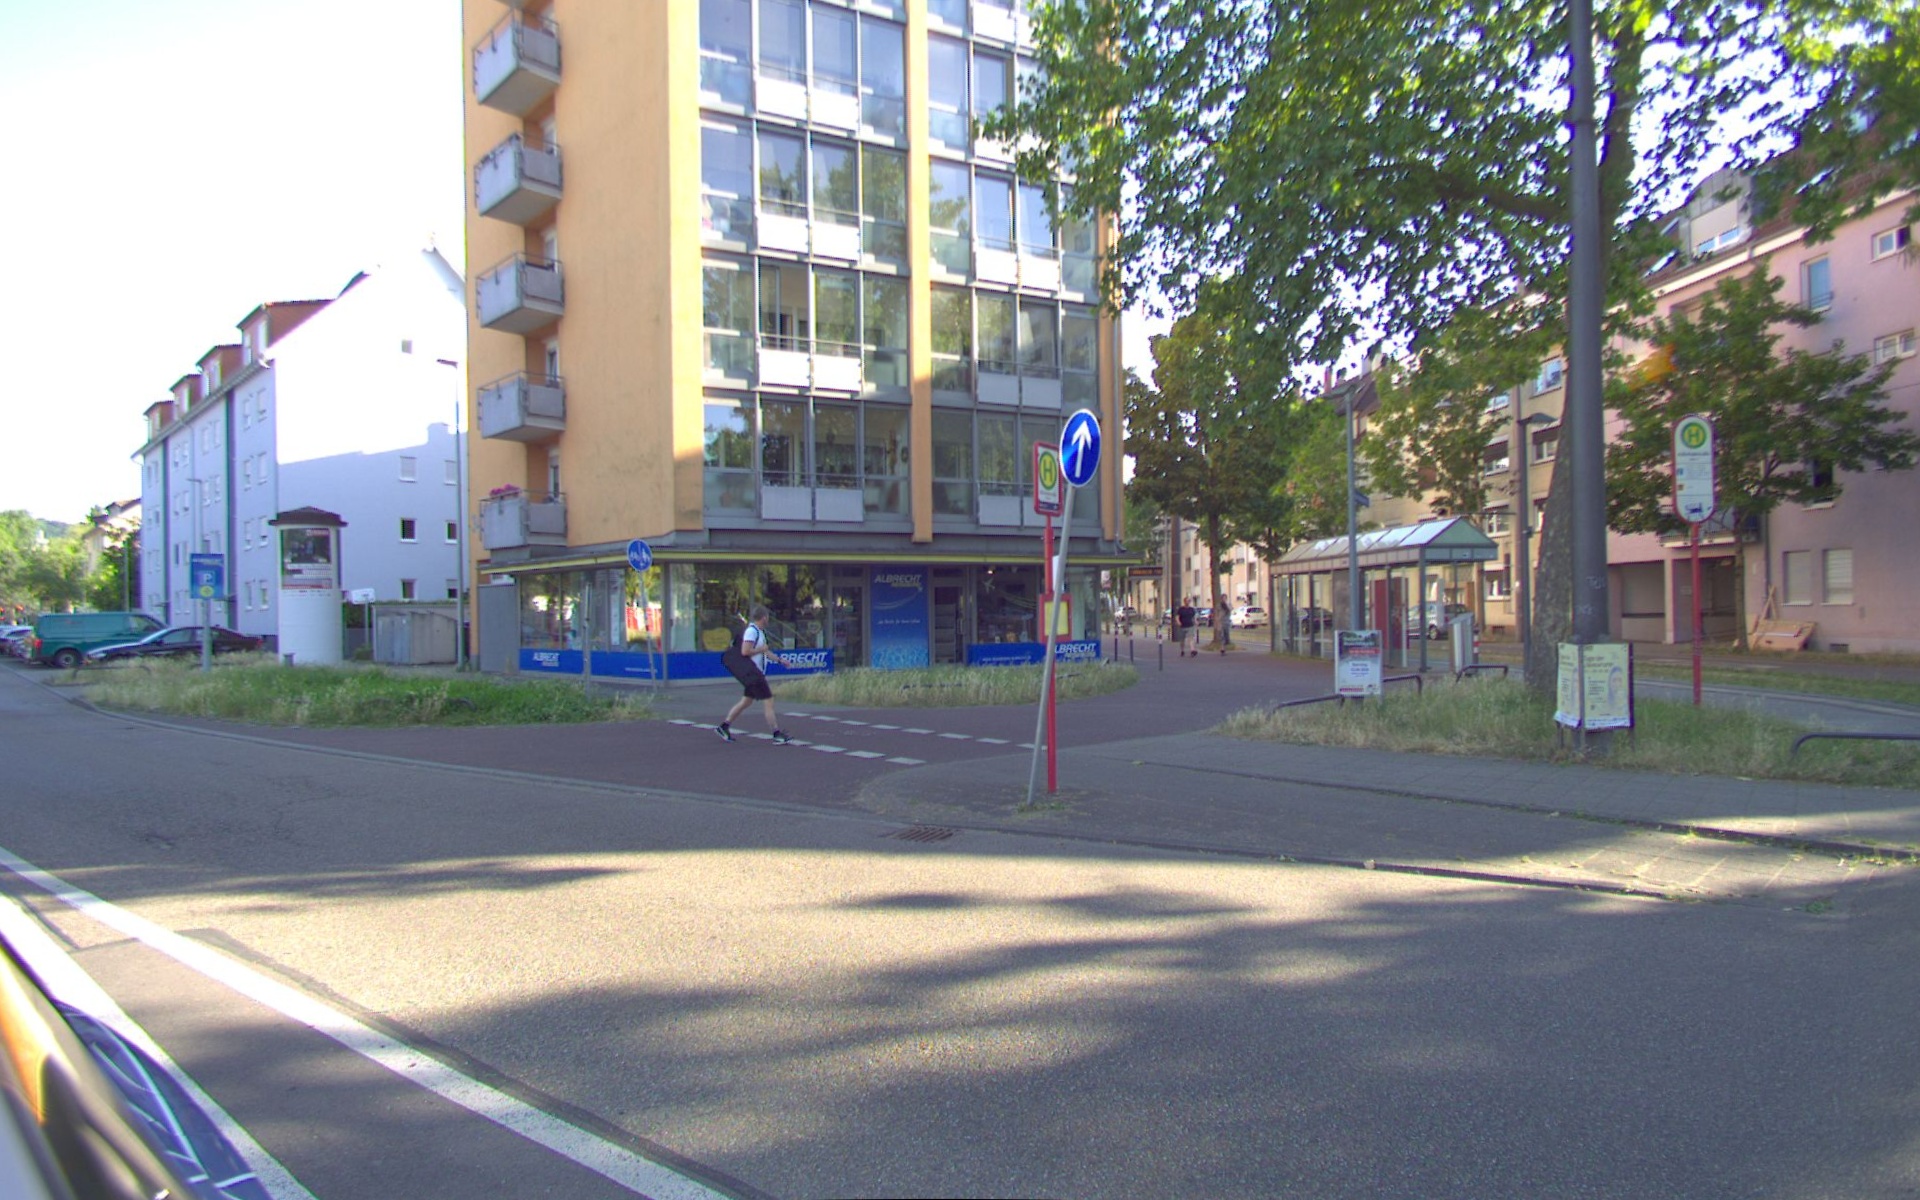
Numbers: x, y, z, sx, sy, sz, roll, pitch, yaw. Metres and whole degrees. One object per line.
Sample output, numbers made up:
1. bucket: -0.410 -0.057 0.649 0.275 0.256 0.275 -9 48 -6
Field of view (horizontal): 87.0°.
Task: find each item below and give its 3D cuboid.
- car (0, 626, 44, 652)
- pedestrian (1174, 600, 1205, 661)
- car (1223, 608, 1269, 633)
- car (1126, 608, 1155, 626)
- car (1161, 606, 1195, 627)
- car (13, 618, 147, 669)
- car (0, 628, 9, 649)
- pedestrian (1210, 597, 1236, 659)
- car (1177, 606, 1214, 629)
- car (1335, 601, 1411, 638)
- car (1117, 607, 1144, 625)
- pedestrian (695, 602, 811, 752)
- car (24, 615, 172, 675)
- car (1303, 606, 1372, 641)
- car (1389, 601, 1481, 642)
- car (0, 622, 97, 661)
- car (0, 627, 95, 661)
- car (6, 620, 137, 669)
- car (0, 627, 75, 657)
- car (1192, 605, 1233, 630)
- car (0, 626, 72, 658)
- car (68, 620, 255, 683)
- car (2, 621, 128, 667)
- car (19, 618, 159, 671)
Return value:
1. car: -63.484 2.604 66.999 4.199 1.585 1.867 -1 0 -44
2. pedestrian: 6.715 0.878 29.629 0.803 1.763 0.538 -1 0 6
3. car: 19.183 1.346 68.051 1.741 1.588 4.049 -1 0 -3
4. car: 17.797 1.637 99.872 1.911 1.719 4.003 -1 0 -3
5. car: 18.443 1.393 85.799 1.830 1.719 4.170 -1 0 -3
6. car: -35.111 1.674 40.437 3.941 1.829 2.001 -1 0 -44
7. car: -74.747 2.988 76.969 3.490 1.585 1.867 -1 0 -44
8. pedestrian: 7.614 0.804 29.311 0.622 1.763 0.689 -1 0 6
9. car: 18.655 1.351 80.345 1.771 1.719 4.170 -1 0 -3
10. car: 19.916 0.918 48.986 1.911 1.719 3.827 -1 0 -3
11. car: 17.748 1.637 105.545 1.911 1.719 4.372 -1 0 -3
12. pedestrian: -2.527 0.908 12.434 1.080 1.750 0.897 -1 0 19
13. car: -31.206 1.557 36.691 2.001 1.962 3.942 -1 0 44
14. car: 19.926 1.202 53.599 1.911 1.719 4.115 -1 0 -3
15. car: 20.756 0.907 44.431 1.911 1.719 4.115 -1 0 -3
16. car: -46.107 2.038 50.870 4.061 1.785 1.758 -1 0 -44
17. car: -48.110 2.275 52.961 4.199 1.585 1.867 -1 0 -44
18. car: -36.849 1.807 42.015 4.003 1.829 1.938 -1 0 -44
19. car: -55.649 2.502 60.386 4.199 1.585 1.867 -1 0 -44
20. car: 18.716 1.266 75.156 1.808 1.719 4.059 -1 0 -3
21. car: -55.782 2.473 60.439 4.016 1.765 1.900 -1 0 -44
22. car: -24.264 1.509 30.868 4.361 1.674 2.003 -1 0 -41
23. car: -38.818 1.865 43.933 4.016 1.765 1.900 -1 0 -44
24. car: -33.111 1.648 38.534 3.941 1.829 2.001 -1 0 -44
